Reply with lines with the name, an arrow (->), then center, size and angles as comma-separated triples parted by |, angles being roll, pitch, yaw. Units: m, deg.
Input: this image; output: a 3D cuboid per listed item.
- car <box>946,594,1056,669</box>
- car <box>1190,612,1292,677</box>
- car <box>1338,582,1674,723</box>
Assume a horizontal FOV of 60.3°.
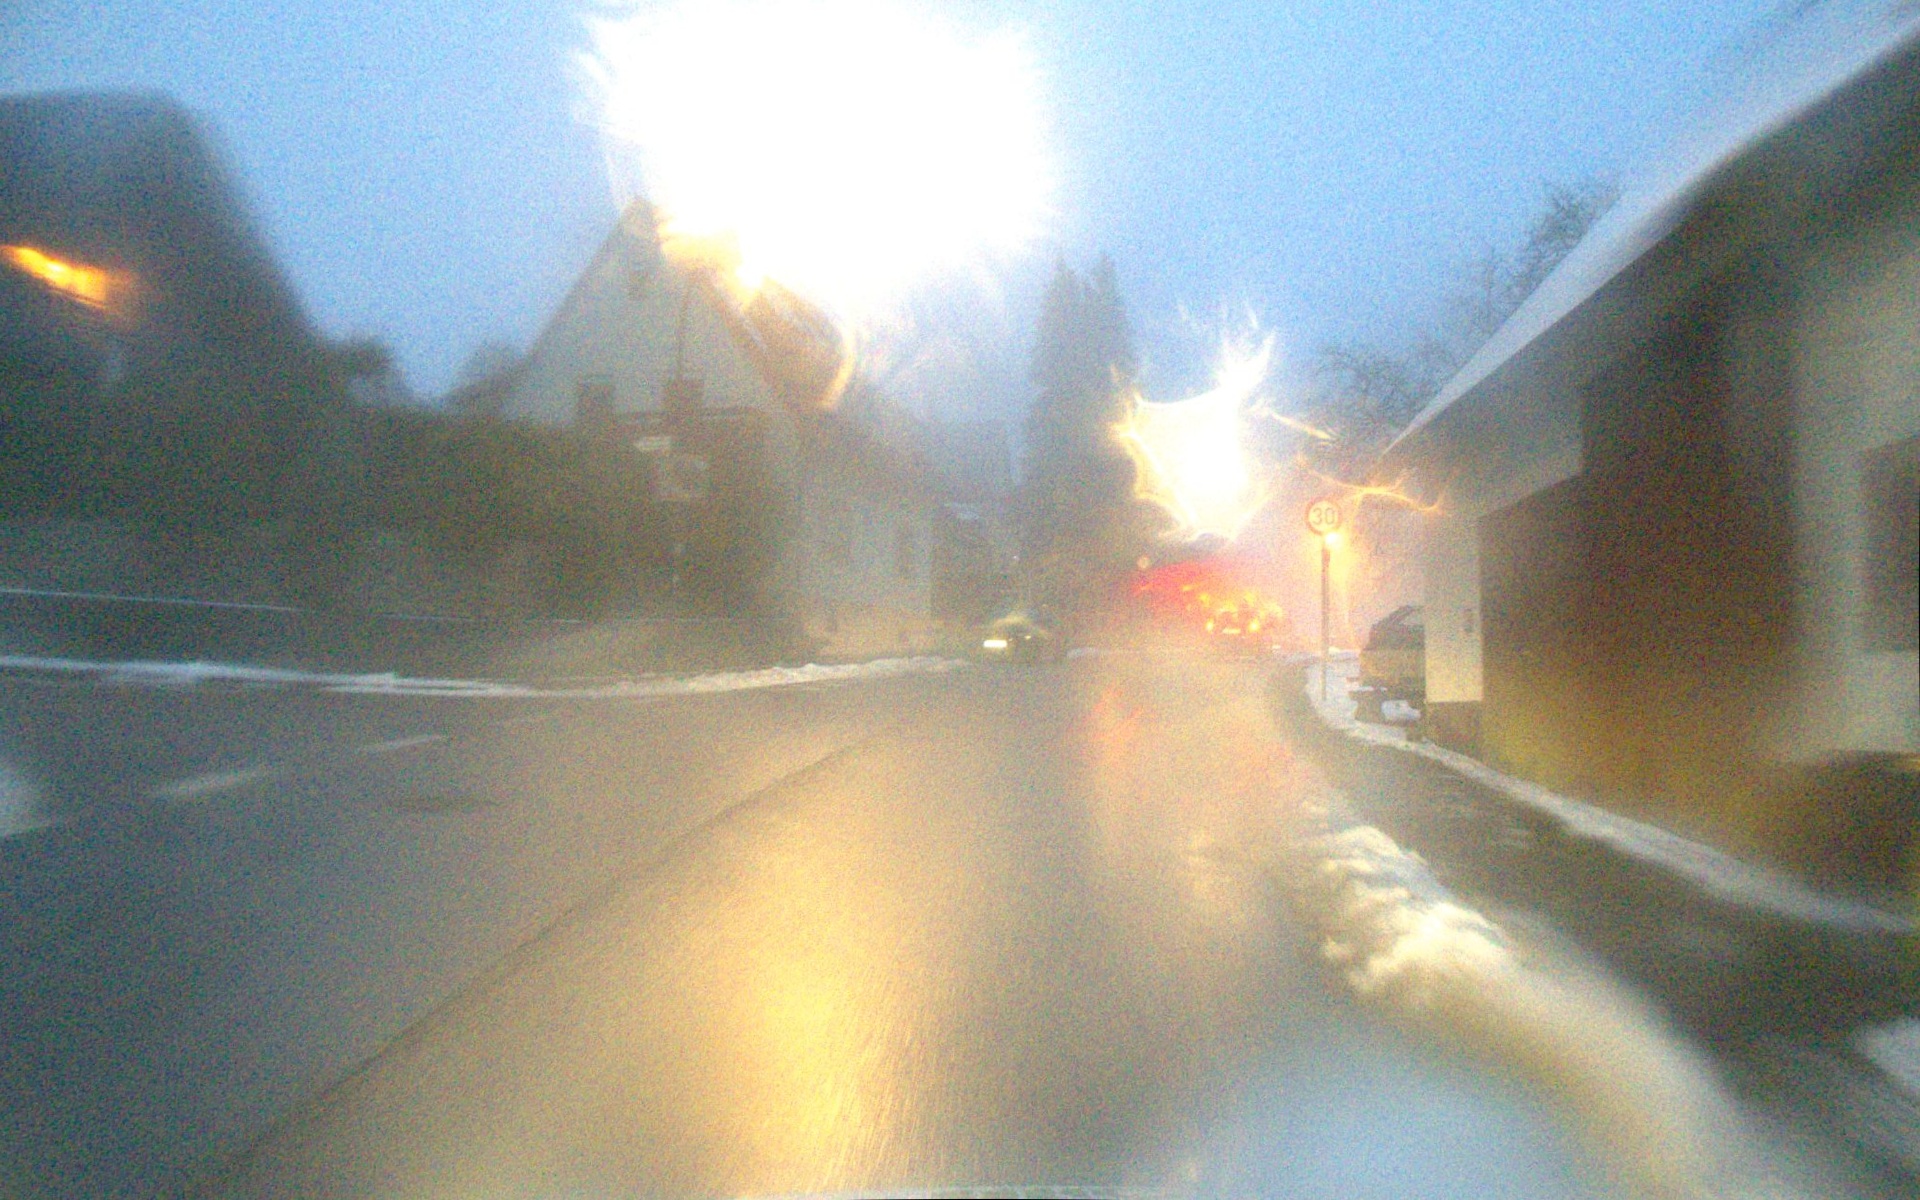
car -> 1.083, 0.818, 41.264 | 1.951, 1.680, 4.003 | -3, -3, 13
car -> 8.348, 1.325, 48.932 | 1.954, 1.767, 3.875 | -3, -3, 25
car -> 6.267, 0.625, 19.287 | 3.366, 1.411, 1.640 | -3, -3, 5
